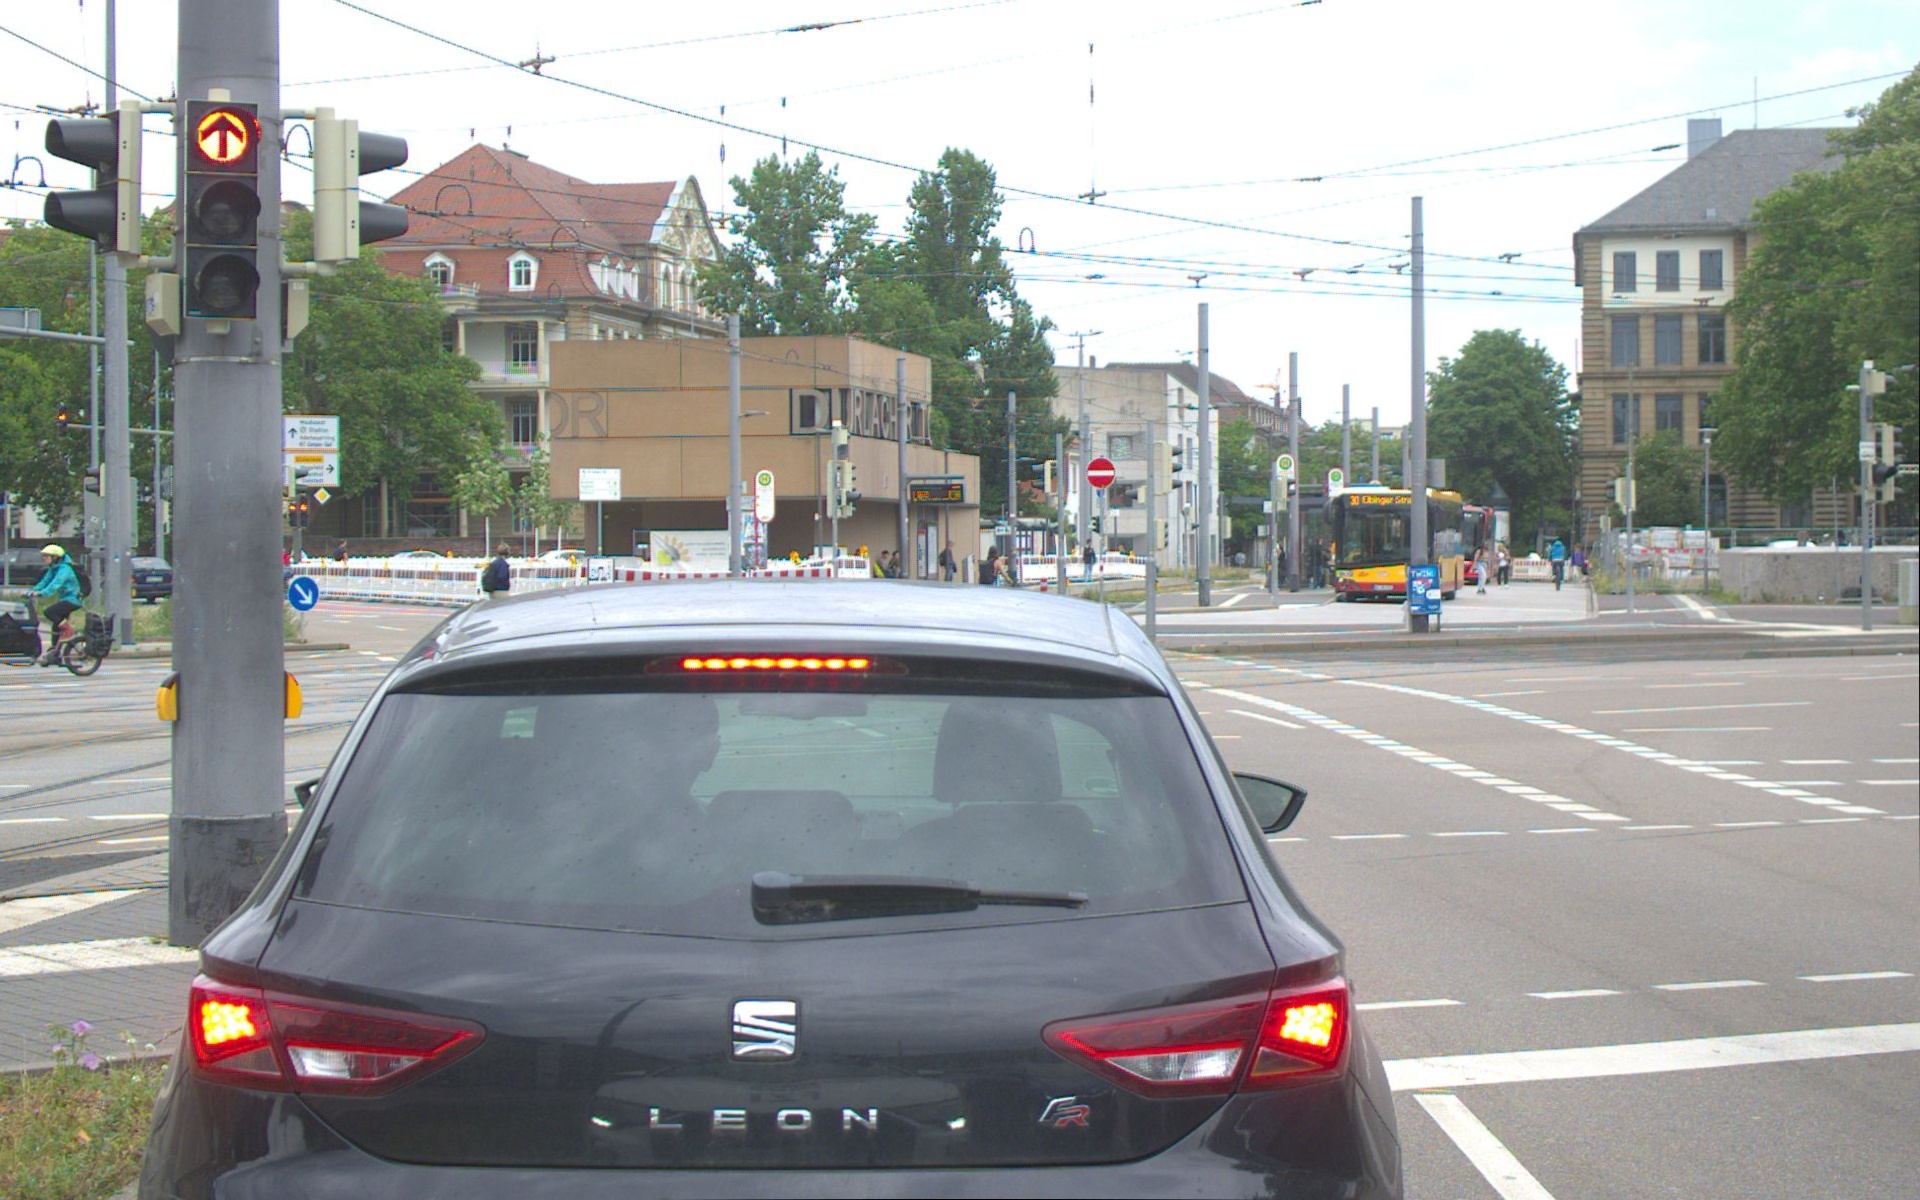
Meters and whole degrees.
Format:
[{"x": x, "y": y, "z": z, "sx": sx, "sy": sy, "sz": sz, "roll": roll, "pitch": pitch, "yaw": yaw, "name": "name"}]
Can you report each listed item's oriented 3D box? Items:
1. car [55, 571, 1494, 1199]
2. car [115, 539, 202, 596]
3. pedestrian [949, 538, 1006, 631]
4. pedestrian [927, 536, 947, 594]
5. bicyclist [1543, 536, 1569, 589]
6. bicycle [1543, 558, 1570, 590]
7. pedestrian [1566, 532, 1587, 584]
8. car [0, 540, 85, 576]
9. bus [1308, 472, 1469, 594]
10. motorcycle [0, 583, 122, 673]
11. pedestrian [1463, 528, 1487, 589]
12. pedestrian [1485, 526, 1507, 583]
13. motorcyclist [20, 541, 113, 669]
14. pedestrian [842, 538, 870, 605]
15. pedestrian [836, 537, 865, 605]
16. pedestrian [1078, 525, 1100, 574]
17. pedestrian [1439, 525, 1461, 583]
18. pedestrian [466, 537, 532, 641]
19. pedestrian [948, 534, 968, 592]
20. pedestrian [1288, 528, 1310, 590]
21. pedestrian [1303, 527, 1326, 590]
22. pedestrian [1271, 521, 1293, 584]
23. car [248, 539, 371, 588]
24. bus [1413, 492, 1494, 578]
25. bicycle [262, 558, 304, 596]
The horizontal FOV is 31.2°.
[{"x": -0.355, "y": 0.691, "z": 5.988, "sx": 1.704, "sy": 1.444, "sz": 3.813, "roll": 0, "pitch": 1, "yaw": -4, "name": "car"}, {"x": -24.440, "y": -0.977, "z": 104.758, "sx": 1.993, "sy": 1.678, "sz": 4.001, "roll": 0, "pitch": 0, "yaw": -22, "name": "car"}, {"x": 0.379, "y": -0.327, "z": 72.378, "sx": 0.700, "sy": 1.927, "sz": 1.028, "roll": 0, "pitch": 1, "yaw": 38, "name": "pedestrian"}, {"x": -0.748, "y": -1.147, "z": 113.716, "sx": 0.621, "sy": 1.911, "sz": 0.710, "roll": 0, "pitch": 1, "yaw": 3, "name": "pedestrian"}, {"x": 20.849, "y": -1.326, "z": 120.246, "sx": 0.872, "sy": 1.845, "sz": 1.047, "roll": 0, "pitch": 1, "yaw": 12, "name": "bicyclist"}, {"x": 20.855, "y": -0.914, "z": 120.256, "sx": 0.866, "sy": 1.101, "sz": 2.301, "roll": 0, "pitch": 1, "yaw": 12, "name": "bicycle"}, {"x": 23.796, "y": -1.626, "z": 132.705, "sx": 0.662, "sy": 2.007, "sz": 0.692, "roll": 0, "pitch": 1, "yaw": 0, "name": "pedestrian"}, {"x": -37.748, "y": -1.719, "z": 139.719, "sx": 3.986, "sy": 1.459, "sz": 1.782, "roll": 0, "pitch": 1, "yaw": -3, "name": "car"}, {"x": 11.764, "y": -1.804, "z": 93.444, "sx": 2.962, "sy": 3.112, "sz": 11.531, "roll": 0, "pitch": 1, "yaw": 14, "name": "bus"}, {"x": -12.058, "y": 0.360, "z": 44.688, "sx": 2.135, "sy": 1.135, "sz": 0.744, "roll": -1, "pitch": 1, "yaw": -33, "name": "motorcycle"}, {"x": 15.871, "y": -1.270, "z": 105.984, "sx": 0.596, "sy": 1.878, "sz": 0.531, "roll": 0, "pitch": 1, "yaw": 26, "name": "pedestrian"}, {"x": 18.920, "y": -1.623, "z": 121.444, "sx": 0.662, "sy": 2.007, "sz": 0.692, "roll": 0, "pitch": 1, "yaw": 0, "name": "pedestrian"}, {"x": -11.681, "y": 0.064, "z": 44.942, "sx": 0.977, "sy": 1.644, "sz": 0.750, "roll": -1, "pitch": 0, "yaw": -33, "name": "motorcyclist"}, {"x": -2.950, "y": -0.812, "z": 97.366, "sx": 0.708, "sy": 1.911, "sz": 0.623, "roll": 0, "pitch": 1, "yaw": 7, "name": "pedestrian"}, {"x": -3.073, "y": -0.813, "z": 96.570, "sx": 0.708, "sy": 1.911, "sz": 0.623, "roll": 0, "pitch": 1, "yaw": 7, "name": "pedestrian"}, {"x": 5.168, "y": -2.013, "z": 137.551, "sx": 0.622, "sy": 1.911, "sz": 0.709, "roll": -1, "pitch": 0, "yaw": 25, "name": "pedestrian"}, {"x": 17.202, "y": -1.610, "z": 120.670, "sx": 0.690, "sy": 2.007, "sz": 0.663, "roll": 0, "pitch": 1, "yaw": 15, "name": "pedestrian"}, {"x": -8.659, "y": -0.206, "z": 64.571, "sx": 1.027, "sy": 1.927, "sz": 0.701, "roll": -1, "pitch": 1, "yaw": -25, "name": "pedestrian"}, {"x": -0.061, "y": -1.215, "z": 113.616, "sx": 0.621, "sy": 1.911, "sz": 0.710, "roll": 0, "pitch": 1, "yaw": 3, "name": "pedestrian"}, {"x": 10.401, "y": -1.262, "z": 105.496, "sx": 0.621, "sy": 1.911, "sz": 0.710, "roll": 0, "pitch": 1, "yaw": 3, "name": "pedestrian"}, {"x": 10.777, "y": -1.253, "z": 104.512, "sx": 0.621, "sy": 1.911, "sz": 0.698, "roll": 0, "pitch": 1, "yaw": 9, "name": "pedestrian"}, {"x": 9.744, "y": -1.444, "z": 104.104, "sx": 0.621, "sy": 1.911, "sz": 0.698, "roll": 0, "pitch": 1, "yaw": 9, "name": "pedestrian"}, {"x": -23.276, "y": -1.297, "z": 123.027, "sx": 3.987, "sy": 1.678, "sz": 2.000, "roll": -1, "pitch": 0, "yaw": 1, "name": "car"}, {"x": 19.675, "y": -2.564, "z": 136.654, "sx": 2.655, "sy": 3.272, "sz": 10.990, "roll": 0, "pitch": 1, "yaw": 11, "name": "bus"}, {"x": -21.496, "y": -0.744, "z": 109.127, "sx": 0.891, "sy": 1.174, "sz": 2.302, "roll": 0, "pitch": 1, "yaw": -22, "name": "bicycle"}]
